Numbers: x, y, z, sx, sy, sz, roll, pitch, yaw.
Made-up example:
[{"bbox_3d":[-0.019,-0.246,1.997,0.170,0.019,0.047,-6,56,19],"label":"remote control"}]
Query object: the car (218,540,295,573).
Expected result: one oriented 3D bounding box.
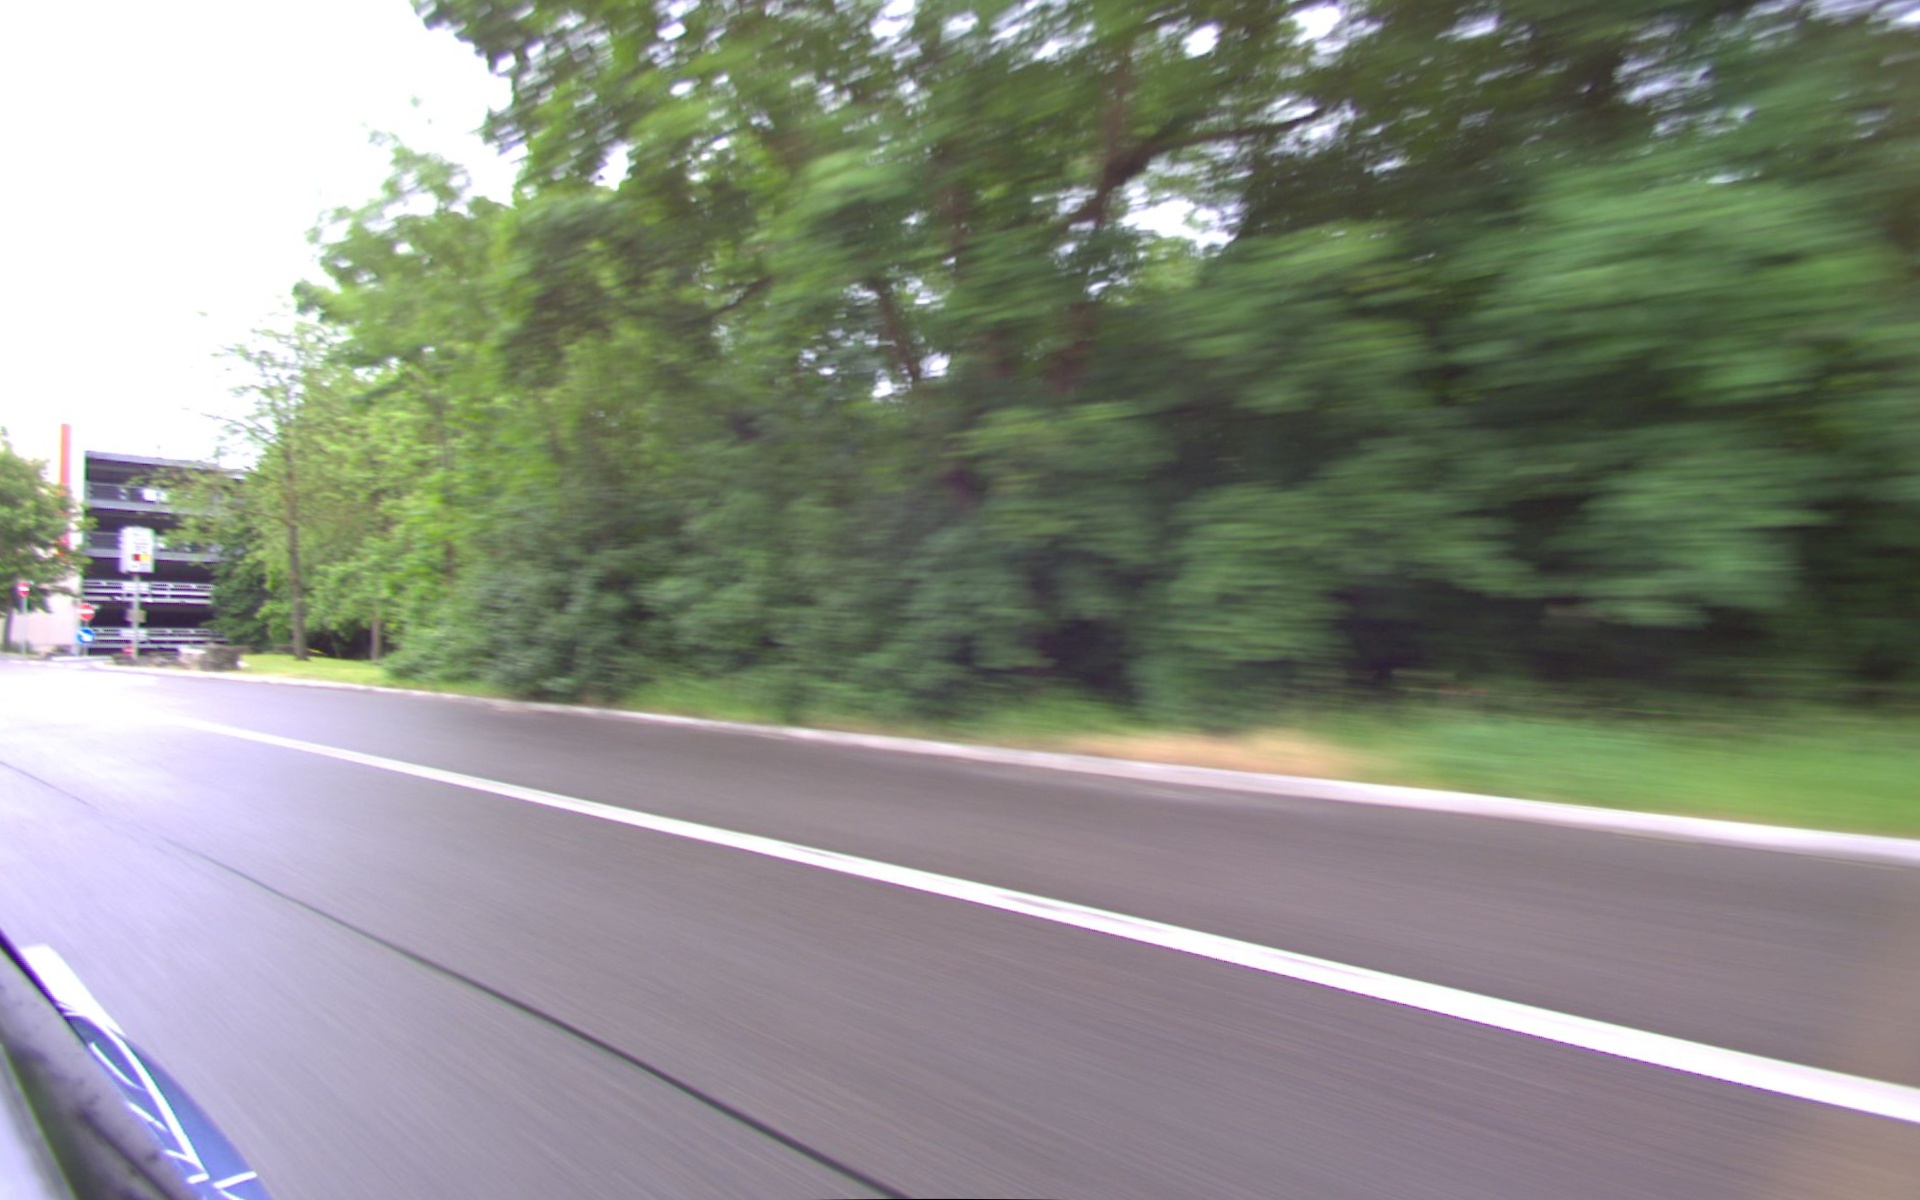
[{"bbox_3d":[-46.766,-2.862,67.316,3.938,1.785,2.002,3,-5,-42],"label":"car"}]
